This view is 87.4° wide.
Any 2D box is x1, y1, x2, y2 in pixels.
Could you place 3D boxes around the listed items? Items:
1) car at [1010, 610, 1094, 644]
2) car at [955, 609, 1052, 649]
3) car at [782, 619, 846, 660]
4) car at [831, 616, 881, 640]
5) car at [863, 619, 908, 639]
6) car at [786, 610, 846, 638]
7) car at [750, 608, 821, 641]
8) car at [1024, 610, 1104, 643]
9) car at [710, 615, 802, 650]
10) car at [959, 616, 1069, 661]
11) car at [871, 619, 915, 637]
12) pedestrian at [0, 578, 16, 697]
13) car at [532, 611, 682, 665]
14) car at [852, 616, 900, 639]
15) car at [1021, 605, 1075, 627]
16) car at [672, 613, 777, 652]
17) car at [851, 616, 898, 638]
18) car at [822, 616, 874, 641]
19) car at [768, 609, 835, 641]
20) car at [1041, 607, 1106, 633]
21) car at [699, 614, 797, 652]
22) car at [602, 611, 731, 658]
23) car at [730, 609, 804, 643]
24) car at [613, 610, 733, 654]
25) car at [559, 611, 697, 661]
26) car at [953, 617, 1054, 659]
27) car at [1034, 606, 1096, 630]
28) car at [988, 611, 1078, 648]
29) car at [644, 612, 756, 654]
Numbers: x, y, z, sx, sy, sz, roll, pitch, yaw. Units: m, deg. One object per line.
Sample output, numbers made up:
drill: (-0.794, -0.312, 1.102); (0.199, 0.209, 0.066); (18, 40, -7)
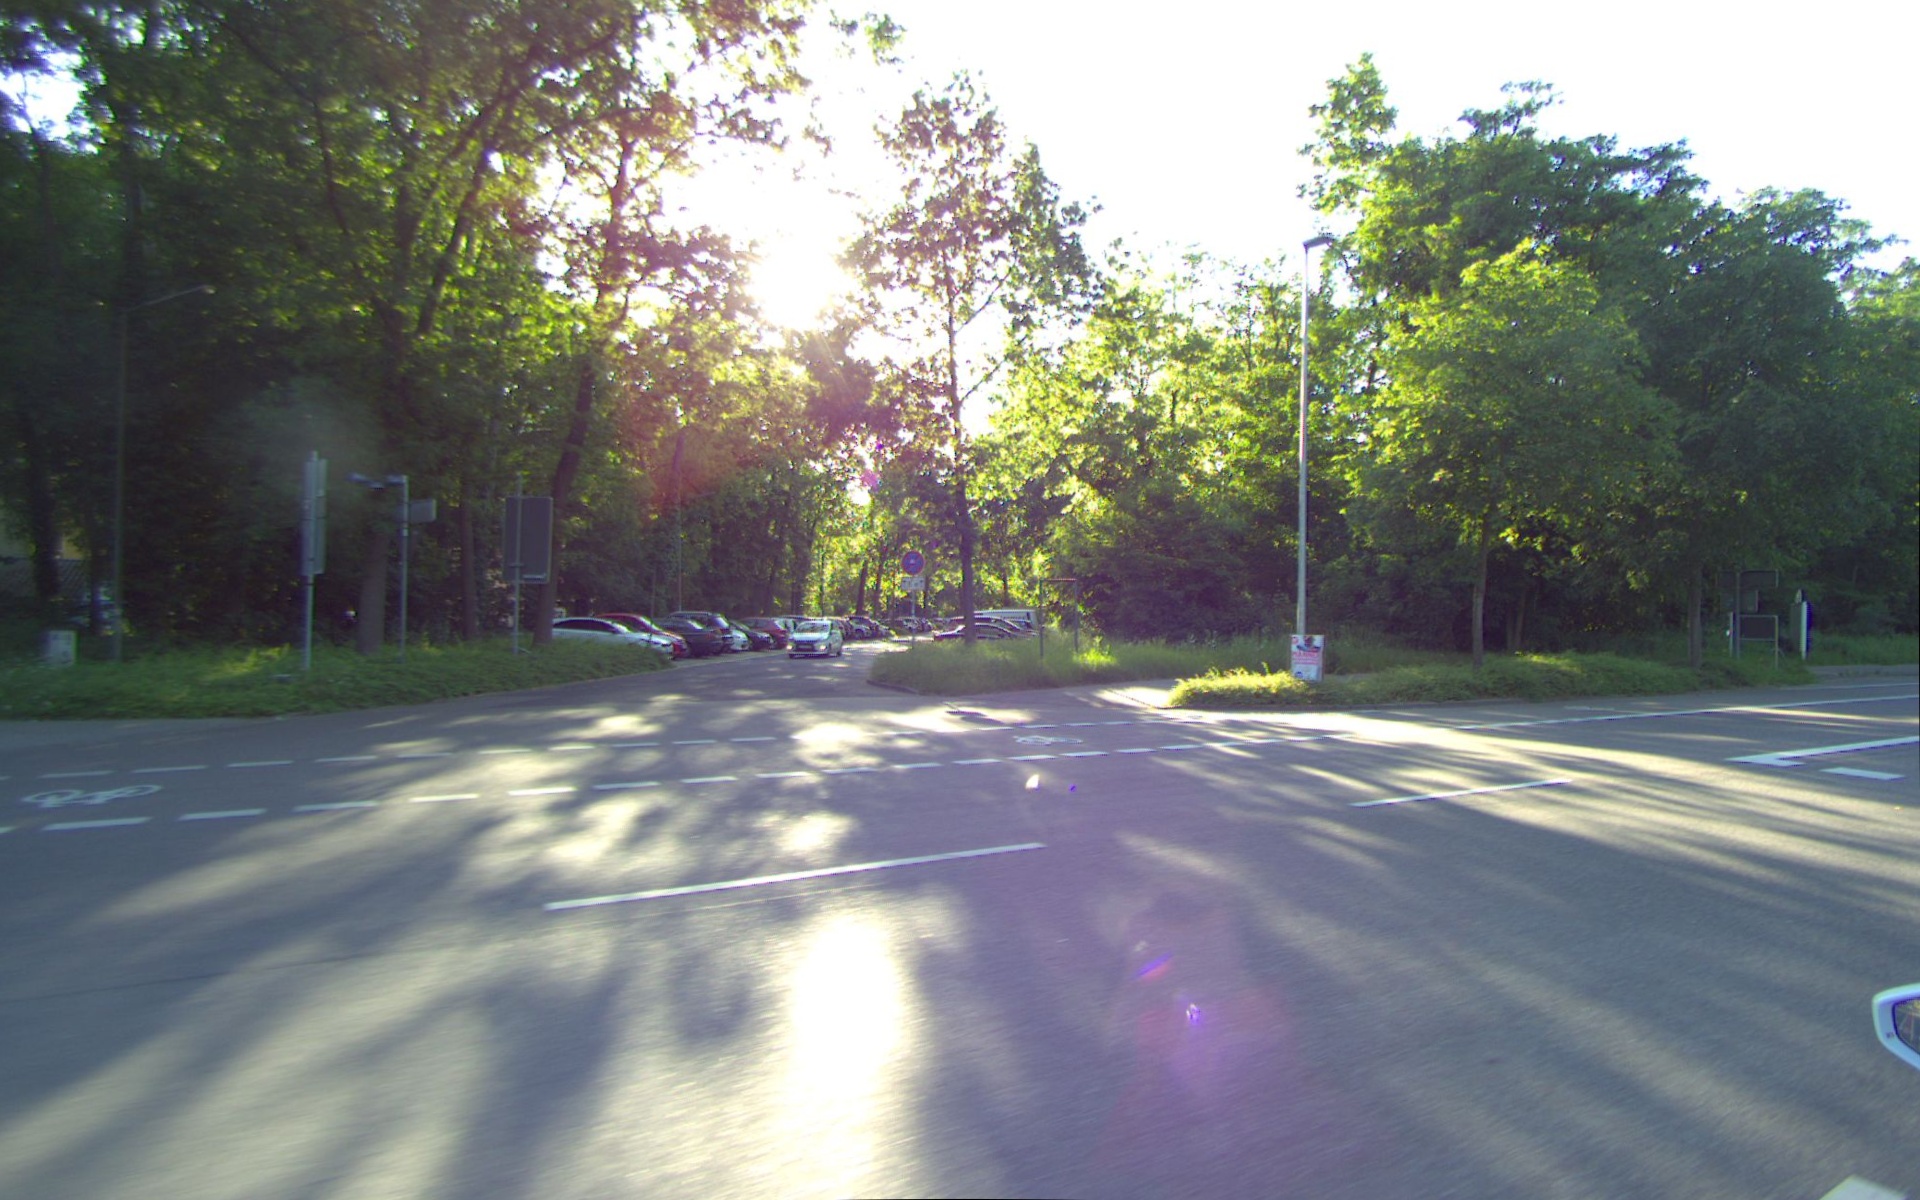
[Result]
car: (4.758, 1.402, 52.222); (4.206, 1.675, 1.831); (1, -1, 1)
car: (1.928, 1.280, 44.592); (4.206, 1.675, 1.831); (1, -1, 1)
car: (-5.869, 1.560, 40.779); (1.794, 1.546, 3.945); (1, -1, 3)
car: (-7.899, 2.130, 76.253); (3.540, 1.751, 1.570); (1, -1, 5)
car: (-6.265, 2.422, 84.285); (3.540, 1.537, 1.570); (1, -1, 5)
car: (-9.344, 1.555, 65.144); (3.540, 1.751, 1.570); (1, -1, 5)
car: (-9.624, 1.361, 55.550); (3.540, 1.751, 1.570); (1, -1, 5)
car: (5.618, 1.441, 54.587); (4.206, 1.675, 1.831); (1, -1, 1)
car: (-10.234, 1.661, 50.600); (4.206, 1.675, 1.832); (1, -3, 1)
car: (2.089, 1.487, 39.611); (4.206, 1.675, 1.831); (1, -1, 1)
car: (-5.739, 2.411, 86.460); (3.540, 1.537, 1.570); (1, -1, 5)
pedestrian: (-15.239, 0.579, 15.396); (0.722, 1.843, 0.835); (1, -1, 0)
car: (-11.447, 1.220, 32.736); (4.206, 1.675, 1.831); (1, -1, 1)
car: (-6.638, 2.183, 79.258); (3.540, 1.751, 1.570); (1, -1, 5)
car: (6.964, 1.300, 80.012); (4.206, 1.675, 1.831); (1, -1, 1)
car: (-10.482, 1.470, 44.918); (4.206, 1.675, 1.832); (1, -3, 1)
car: (-6.916, 2.186, 81.671); (3.540, 1.751, 1.570); (1, -1, 5)
car: (-8.193, 2.080, 73.856); (3.540, 1.751, 1.570); (1, -1, 5)
car: (-9.166, 1.446, 58.102); (3.540, 1.751, 1.570); (1, -1, 5)
car: (7.551, 1.339, 67.206); (4.206, 1.675, 1.831); (1, -1, 1)
car: (-10.077, 1.586, 47.916); (4.206, 1.675, 1.832); (1, -3, 1)
car: (-10.896, 1.309, 37.440); (4.206, 1.675, 1.832); (1, -3, 1)
car: (-10.193, 1.361, 53.195); (3.540, 1.751, 1.570); (1, -1, 5)
car: (-11.396, 1.294, 40.081); (4.206, 1.675, 1.832); (1, -3, 1)
car: (-11.612, 1.243, 35.318); (4.206, 1.675, 1.831); (1, -1, 1)
car: (1.835, 1.591, 42.714); (4.206, 1.675, 1.831); (1, -1, 1)
car: (7.361, 1.265, 70.788); (4.206, 1.675, 1.831); (1, -1, 1)
car: (3.483, 1.398, 48.269); (4.206, 1.675, 1.831); (1, -1, 1)
car: (-11.012, 1.412, 42.743); (4.206, 1.675, 1.832); (1, -3, 1)
